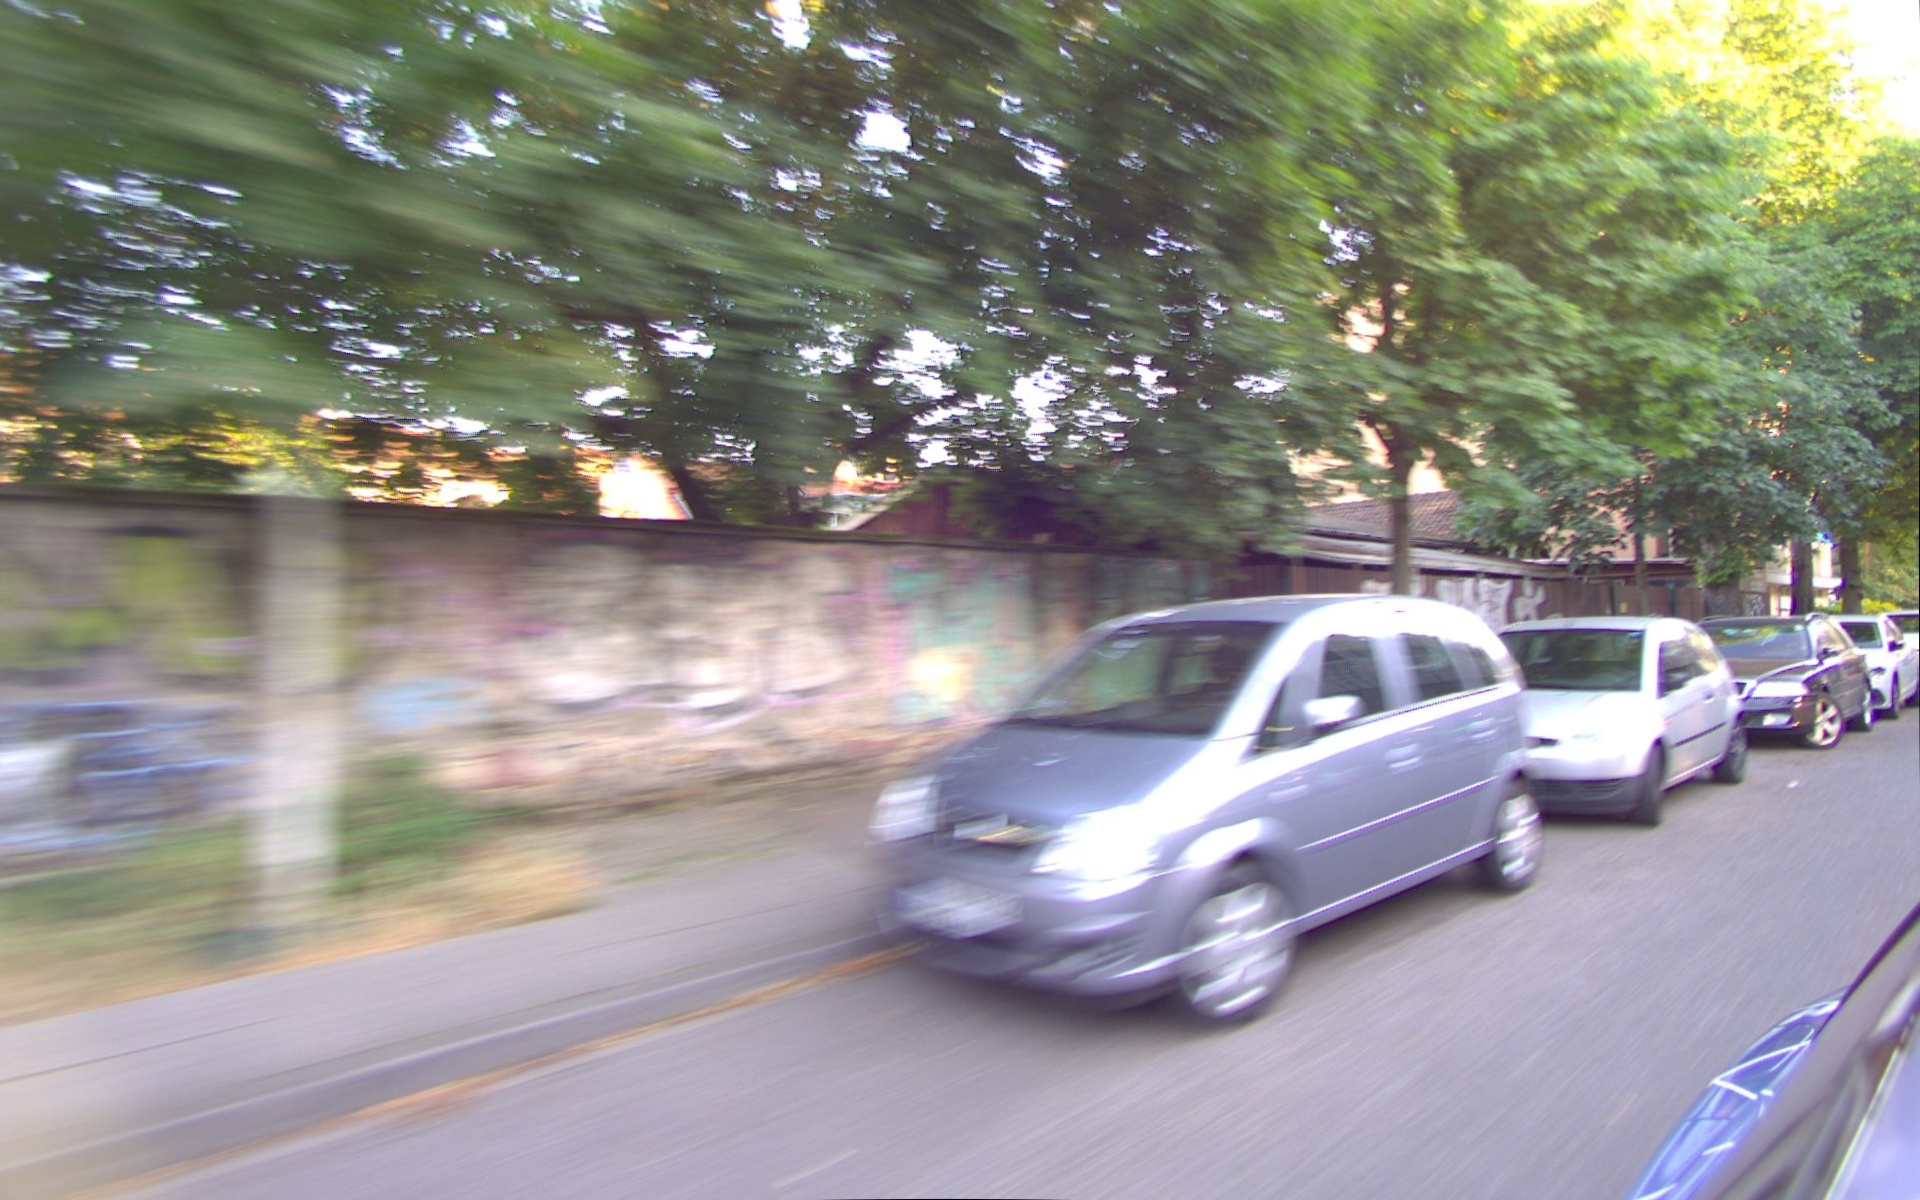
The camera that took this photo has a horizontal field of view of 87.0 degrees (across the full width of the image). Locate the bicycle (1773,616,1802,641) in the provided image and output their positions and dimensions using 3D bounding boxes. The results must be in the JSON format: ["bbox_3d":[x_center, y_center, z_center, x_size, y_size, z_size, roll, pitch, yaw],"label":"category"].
[{"bbox_3d":[30.832,1.057,37.698,1.803,0.933,0.524,2,-3,-42],"label":"bicycle"}]

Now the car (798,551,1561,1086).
[{"bbox_3d":[1.300,0.688,5.019,3.806,1.624,1.762,0,-2,-41],"label":"car"}]

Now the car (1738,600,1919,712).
[{"bbox_3d":[13.288,0.792,15.203,3.935,1.461,1.762,2,-3,-41],"label":"car"}]

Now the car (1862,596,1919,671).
[{"bbox_3d":[21.083,0.725,21.977,3.955,1.539,1.724,2,-3,-41],"label":"car"}]

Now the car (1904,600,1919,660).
[{"bbox_3d":[24.840,0.744,25.225,3.393,1.469,1.565,2,-3,-41],"label":"car"}]

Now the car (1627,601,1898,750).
[{"bbox_3d":[9.727,0.769,12.142,4.315,1.473,1.762,0,-2,-41],"label":"car"}]

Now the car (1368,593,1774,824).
[{"bbox_3d":[5.145,0.741,8.339,3.805,1.460,1.762,2,-3,-41],"label":"car"}]
